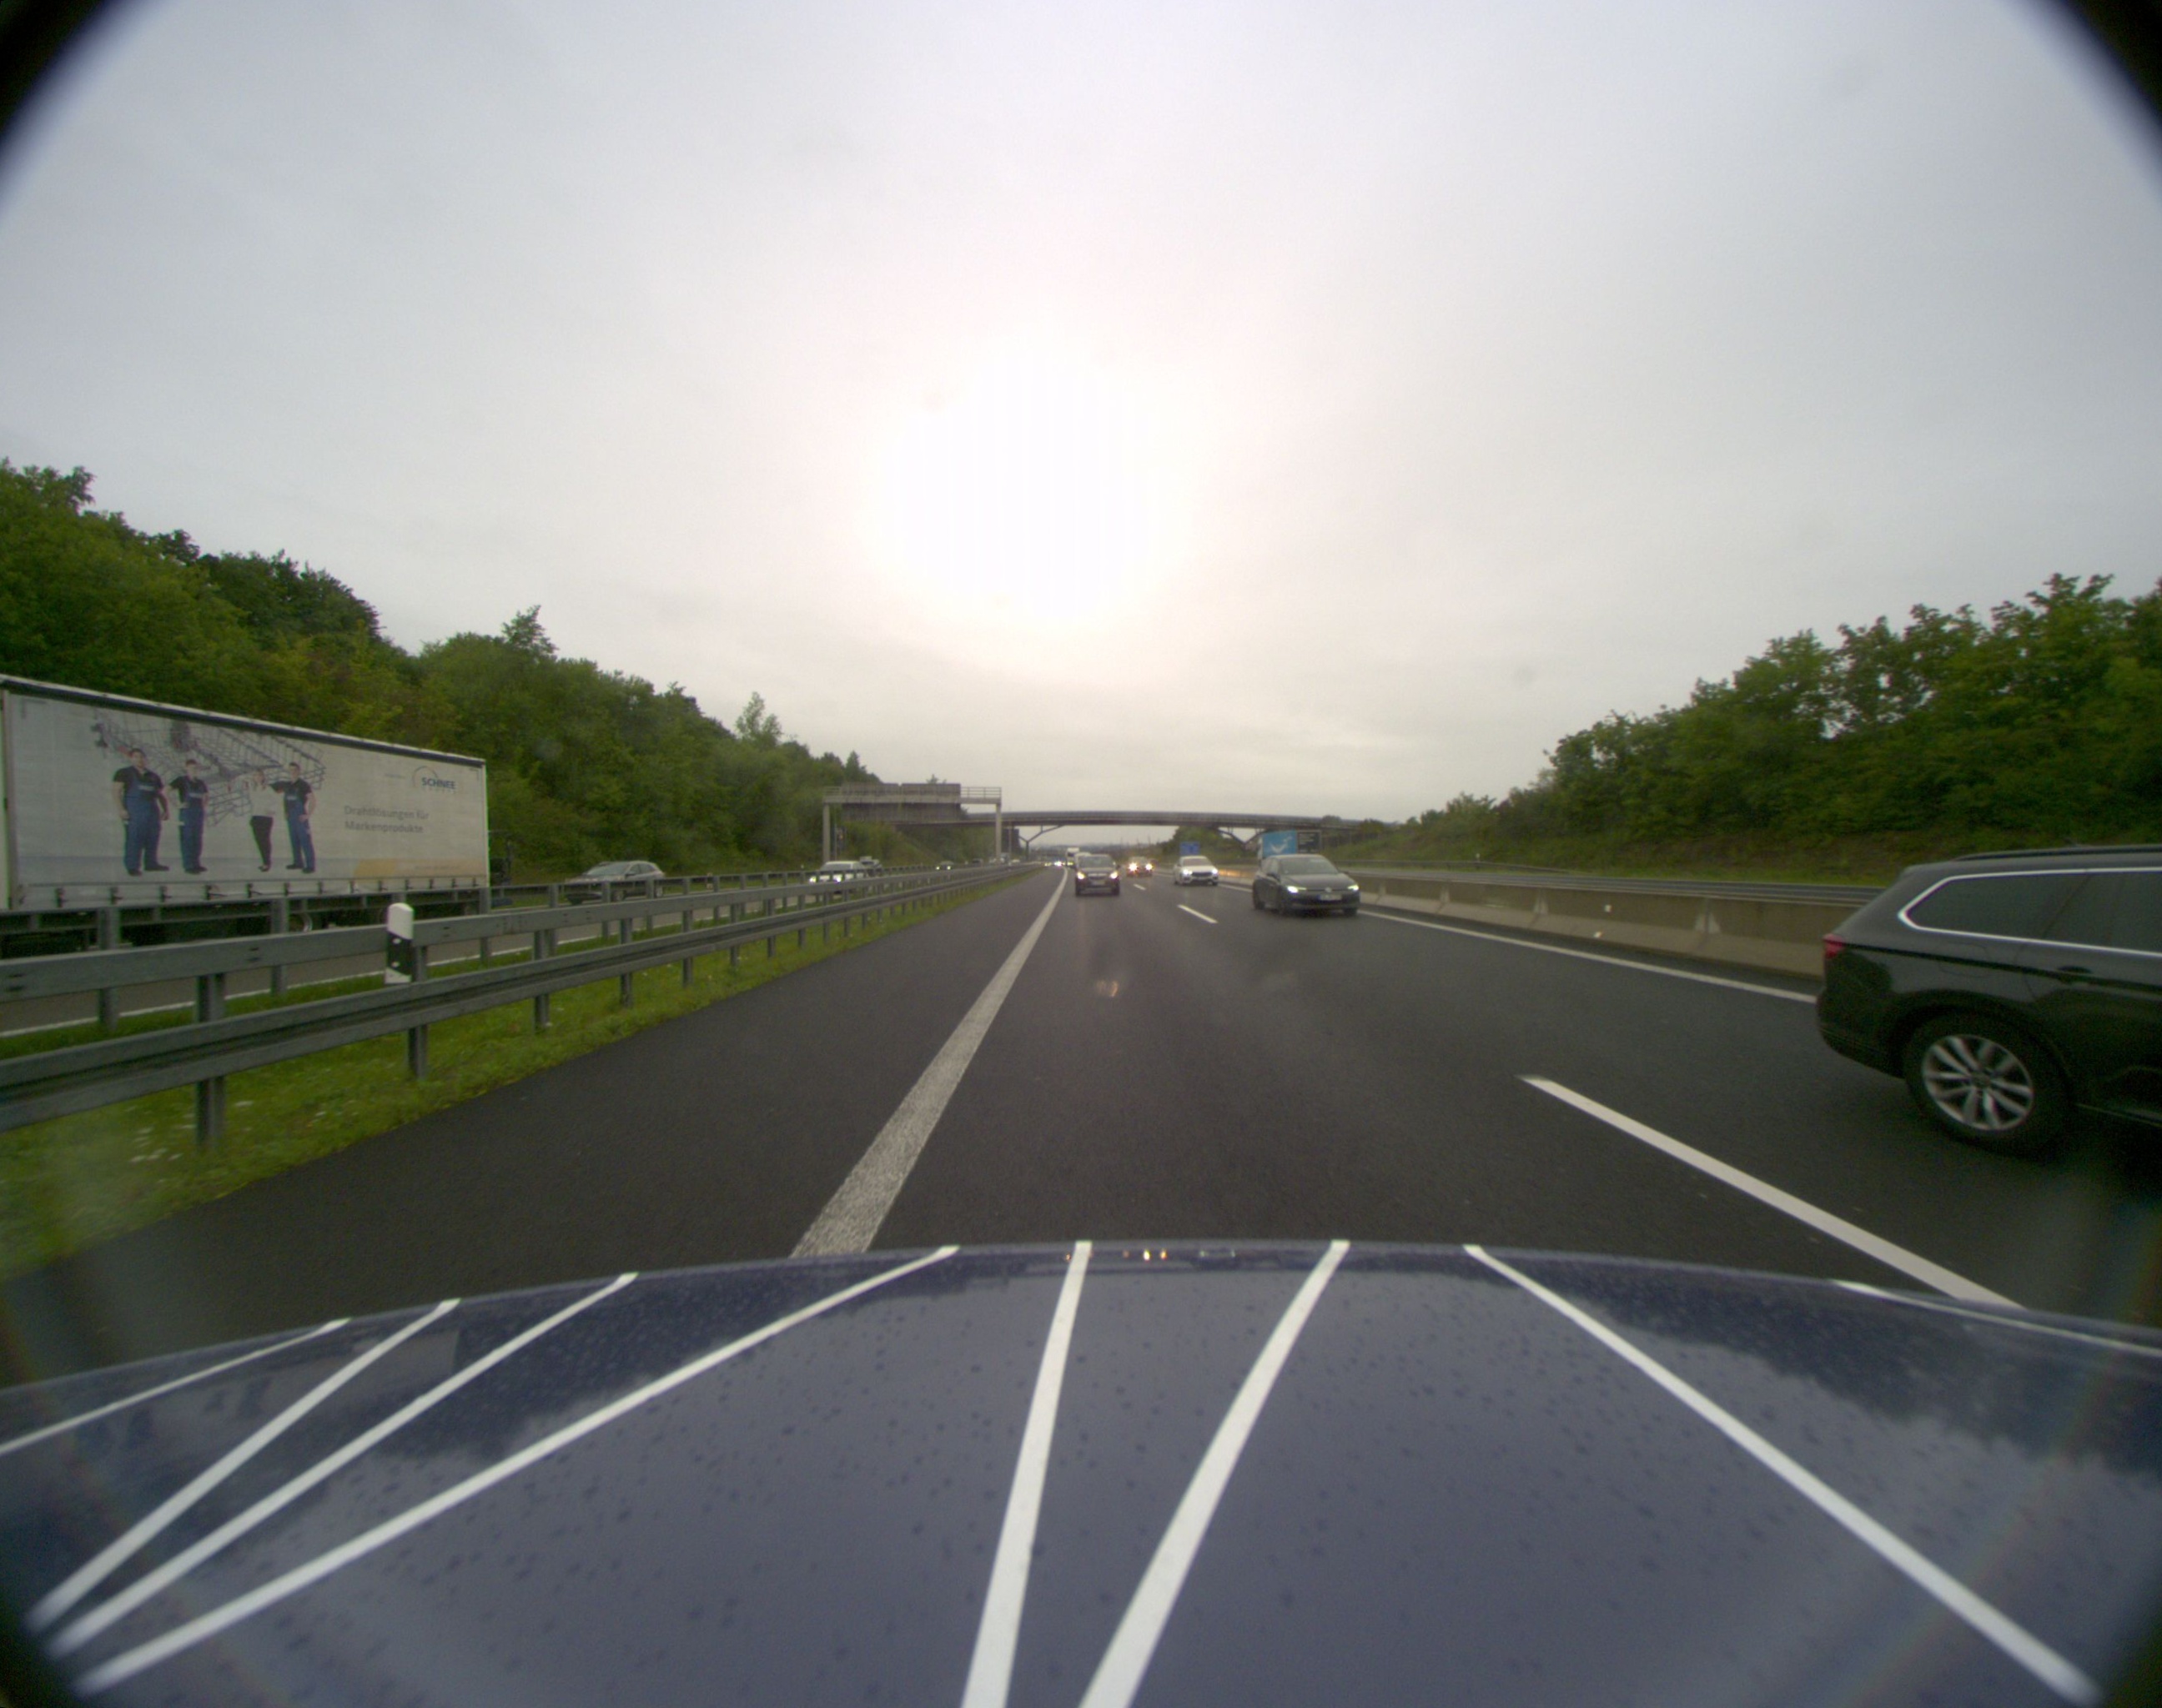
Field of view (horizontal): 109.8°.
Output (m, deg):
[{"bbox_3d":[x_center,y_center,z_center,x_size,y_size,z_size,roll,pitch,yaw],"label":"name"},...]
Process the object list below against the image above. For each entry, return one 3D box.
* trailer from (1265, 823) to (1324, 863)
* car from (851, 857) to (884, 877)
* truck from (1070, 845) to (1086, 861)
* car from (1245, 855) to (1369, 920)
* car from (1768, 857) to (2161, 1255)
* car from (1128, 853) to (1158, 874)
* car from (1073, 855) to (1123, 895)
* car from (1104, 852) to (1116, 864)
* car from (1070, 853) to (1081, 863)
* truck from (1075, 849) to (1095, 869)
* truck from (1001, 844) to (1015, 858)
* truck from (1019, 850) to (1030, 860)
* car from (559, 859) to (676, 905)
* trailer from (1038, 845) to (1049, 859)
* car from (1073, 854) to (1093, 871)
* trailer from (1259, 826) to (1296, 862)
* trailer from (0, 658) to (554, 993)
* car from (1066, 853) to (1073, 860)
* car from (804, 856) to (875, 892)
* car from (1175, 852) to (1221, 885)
[{"bbox_3d":[23.638,-1.138,85.050,2.796,4.060,13.525,-1,0,0],"label":"trailer"},{"bbox_3d":[-18.862,1.138,67.327,1.865,1.573,4.238,-1,1,-3],"label":"car"},{"bbox_3d":[-0.661,-0.260,162.837,3.153,3.332,13.099,-1,1,0],"label":"truck"},{"bbox_3d":[5.539,0.762,19.269,1.905,1.397,4.459,-1,0,1],"label":"car"},{"bbox_3d":[5.106,0.791,2.185,1.905,1.488,4.851,-1,0,1],"label":"car"},{"bbox_3d":[4.691,0.670,58.089,1.905,1.497,4.113,-1,0,0],"label":"car"},{"bbox_3d":[0.769,0.811,31.331,1.905,1.497,4.115,-1,0,3],"label":"car"},{"bbox_3d":[4.483,0.555,116.959,1.715,1.724,4.000,-1,0,1],"label":"car"},{"bbox_3d":[-0.917,0.635,129.292,1.715,1.724,4.000,-1,0,1],"label":"car"},{"bbox_3d":[0.448,0.537,87.332,2.175,2.214,5.641,-1,0,0],"label":"truck"},{"bbox_3d":[-18.268,-0.794,191.096,2.909,3.397,9.279,-1,1,-3],"label":"truck"},{"bbox_3d":[-19.237,0.290,257.753,2.909,3.397,13.350,-1,1,-1],"label":"truck"},{"bbox_3d":[-18.491,1.062,30.588,1.864,1.605,4.499,-1,1,1],"label":"car"},{"bbox_3d":[-10.426,-0.582,212.740,2.547,3.799,11.329,-1,0,0],"label":"trailer"},{"bbox_3d":[0.255,0.891,79.706,1.825,1.669,4.000,-1,1,3],"label":"car"},{"bbox_3d":[23.612,-1.156,91.425,2.796,4.060,6.041,-1,0,0],"label":"trailer"},{"bbox_3d":[-15.492,-0.353,14.524,3.446,4.264,10.452,-1,0,0],"label":"trailer"},{"bbox_3d":[-2.929,0.675,192.122,1.715,1.724,4.000,-1,0,1],"label":"car"},{"bbox_3d":[-10.866,0.863,34.549,1.864,1.439,4.157,-1,1,0],"label":"car"},{"bbox_3d":[5.842,0.688,38.357,1.905,1.497,4.115,-1,0,3],"label":"car"}]
